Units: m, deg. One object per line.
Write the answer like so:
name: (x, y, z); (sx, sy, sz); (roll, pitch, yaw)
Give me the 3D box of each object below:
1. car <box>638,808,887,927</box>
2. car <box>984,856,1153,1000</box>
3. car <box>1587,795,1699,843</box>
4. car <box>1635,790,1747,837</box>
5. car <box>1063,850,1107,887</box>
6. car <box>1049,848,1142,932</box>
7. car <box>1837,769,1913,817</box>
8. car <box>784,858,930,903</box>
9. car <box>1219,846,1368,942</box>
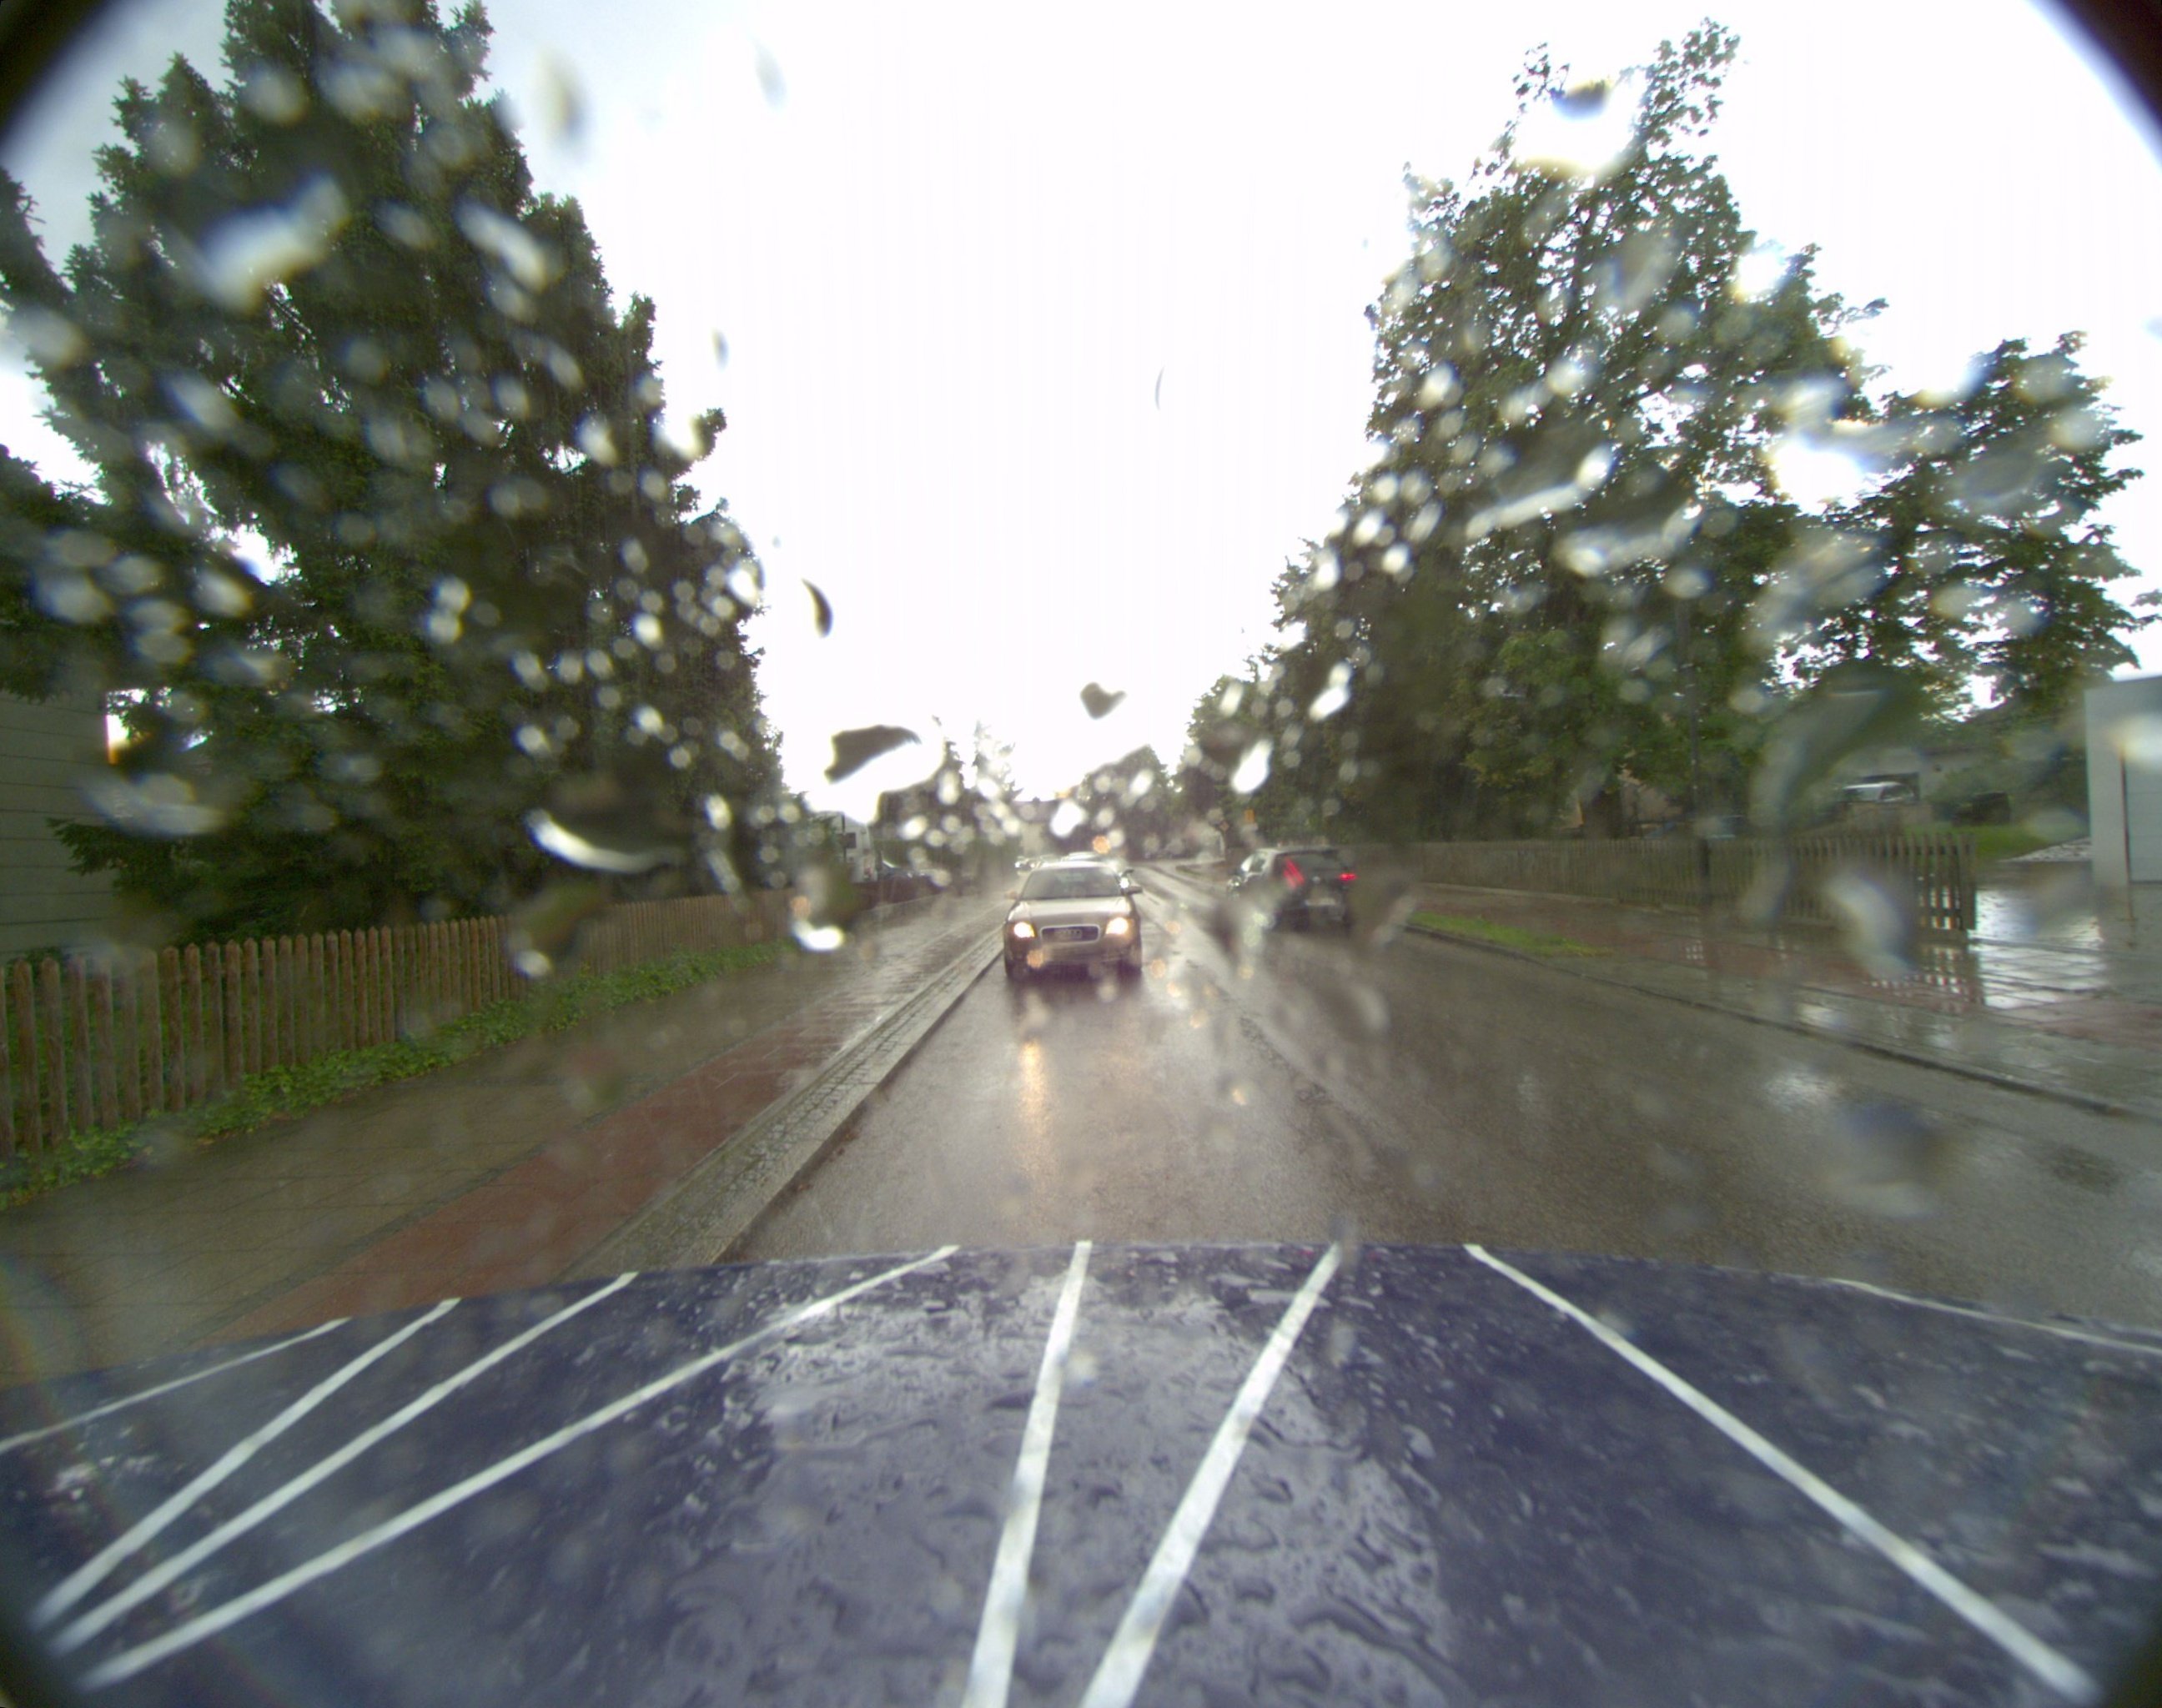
car: (-7.634, 0.289, 18.761); (5.321, 2.712, 1.998); (0, 1, -9)
car: (-0.110, 0.858, 10.815); (1.872, 1.512, 4.188); (-3, 1, 1)
car: (25.957, -1.587, 35.173); (1.845, 1.792, 3.649); (-6, 0, -33)
car: (28.868, -1.888, 36.067); (1.845, 1.792, 3.649); (-6, 0, -33)
car: (0.214, 0.639, 36.979); (1.872, 1.512, 4.960); (-4, 1, 1)
car: (0.348, 0.757, 18.825); (1.872, 1.603, 4.960); (-4, 1, 1)
car: (40.681, -3.103, 38.922); (3.857, 2.281, 1.782); (-3, 1, -29)
car: (-7.390, 0.868, 25.452); (4.443, 1.413, 1.829); (0, 1, -7)
car: (3.846, 0.641, 14.452); (1.712, 1.457, 4.000); (-4, 1, 1)
